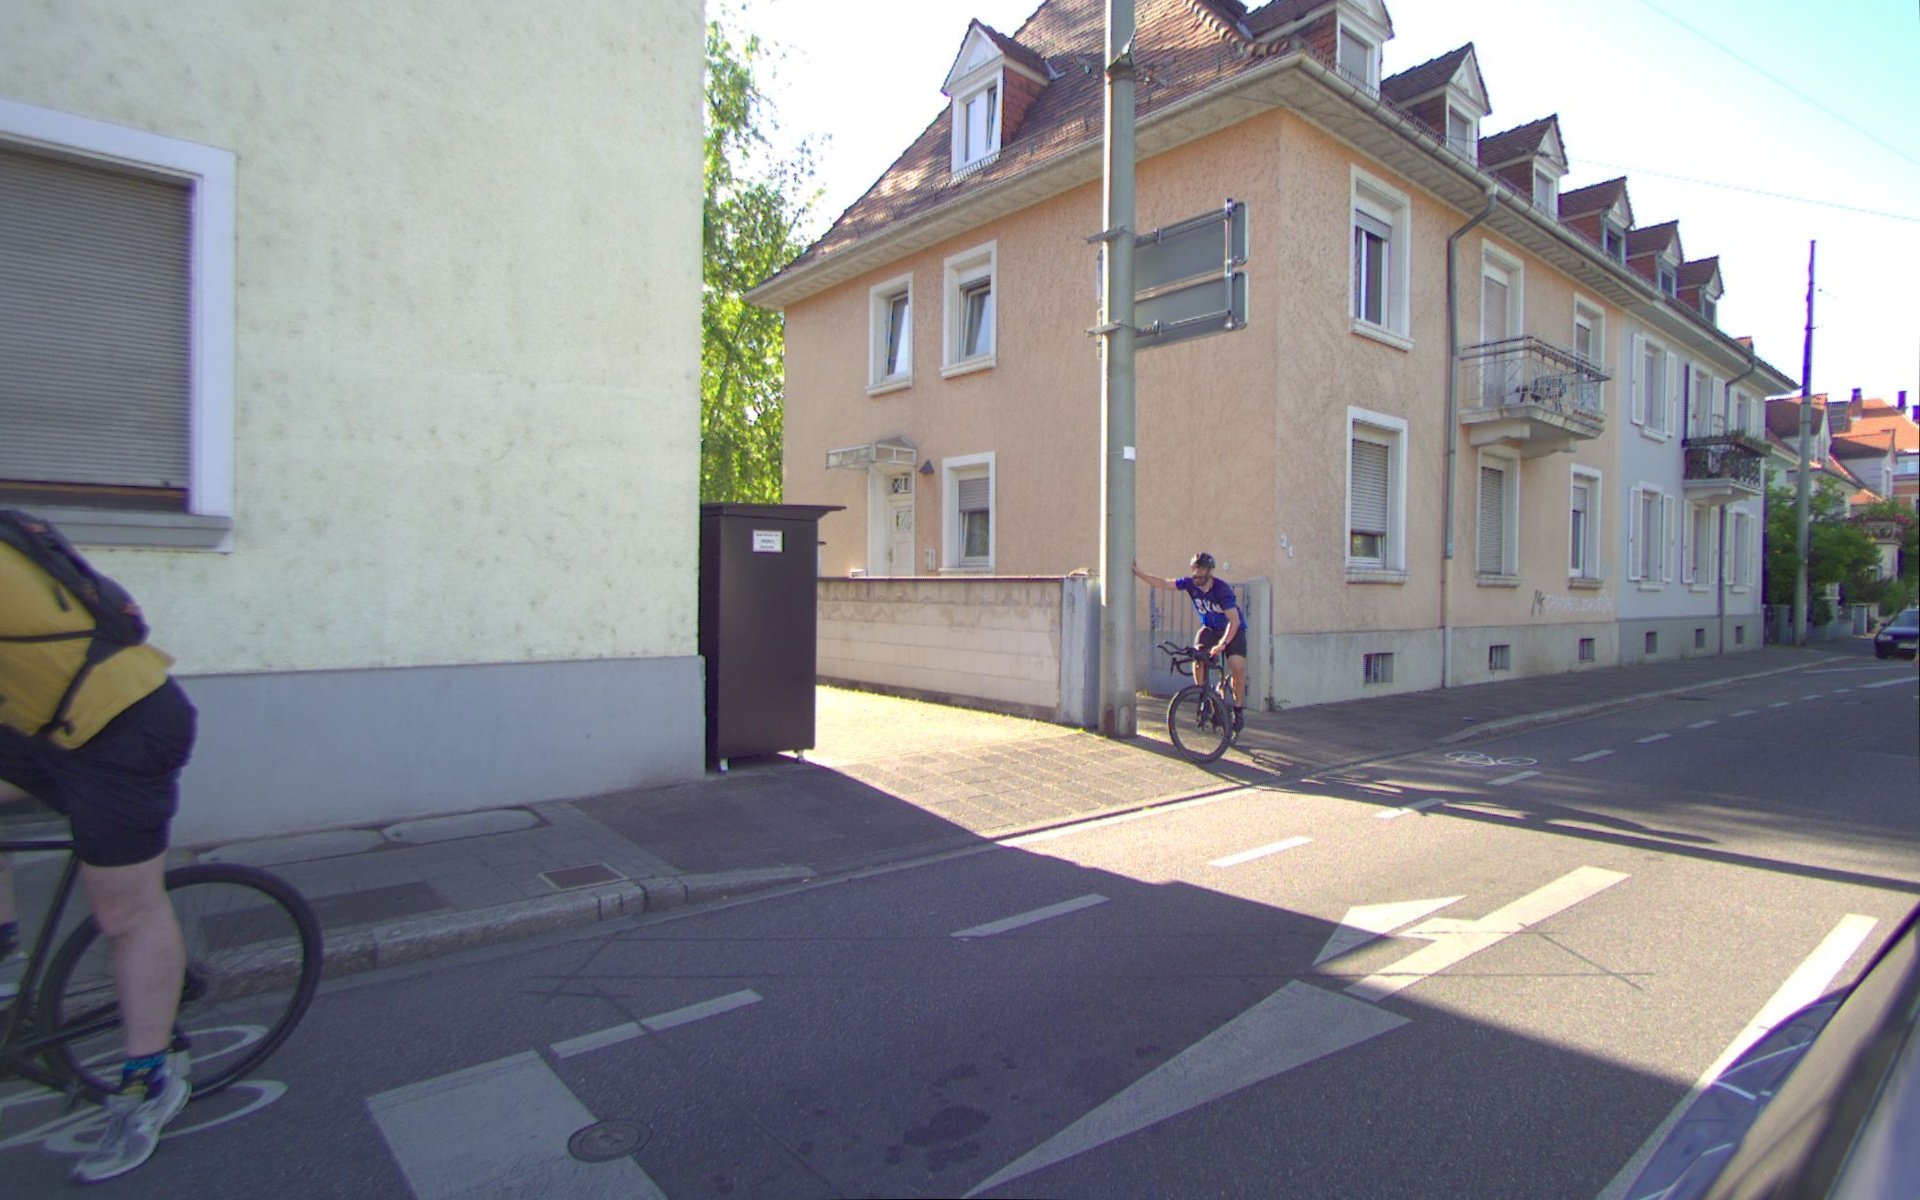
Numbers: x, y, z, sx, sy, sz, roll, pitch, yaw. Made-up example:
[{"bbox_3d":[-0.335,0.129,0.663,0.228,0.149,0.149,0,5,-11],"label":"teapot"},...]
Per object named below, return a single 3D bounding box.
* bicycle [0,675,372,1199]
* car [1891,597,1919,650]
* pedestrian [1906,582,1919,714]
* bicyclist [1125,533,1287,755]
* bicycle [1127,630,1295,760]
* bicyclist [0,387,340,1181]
[{"bbox_3d":[-2.482,0.844,2.534,1.669,1.180,0.572,0,1,-41],"label":"bicycle"},{"bbox_3d":[26.691,0.626,27.344,3.796,1.382,1.648,0,1,-38],"label":"car"},{"bbox_3d":[12.585,0.613,12.794,0.689,1.682,1.086,0,0,31],"label":"pedestrian"},{"bbox_3d":[2.277,0.360,9.434,0.831,1.887,1.076,0,4,-40],"label":"bicyclist"},{"bbox_3d":[2.310,0.817,9.209,1.669,1.003,0.572,0,4,-41],"label":"bicycle"},{"bbox_3d":[-2.307,0.421,2.699,1.018,1.840,0.653,0,1,-41],"label":"bicyclist"}]
